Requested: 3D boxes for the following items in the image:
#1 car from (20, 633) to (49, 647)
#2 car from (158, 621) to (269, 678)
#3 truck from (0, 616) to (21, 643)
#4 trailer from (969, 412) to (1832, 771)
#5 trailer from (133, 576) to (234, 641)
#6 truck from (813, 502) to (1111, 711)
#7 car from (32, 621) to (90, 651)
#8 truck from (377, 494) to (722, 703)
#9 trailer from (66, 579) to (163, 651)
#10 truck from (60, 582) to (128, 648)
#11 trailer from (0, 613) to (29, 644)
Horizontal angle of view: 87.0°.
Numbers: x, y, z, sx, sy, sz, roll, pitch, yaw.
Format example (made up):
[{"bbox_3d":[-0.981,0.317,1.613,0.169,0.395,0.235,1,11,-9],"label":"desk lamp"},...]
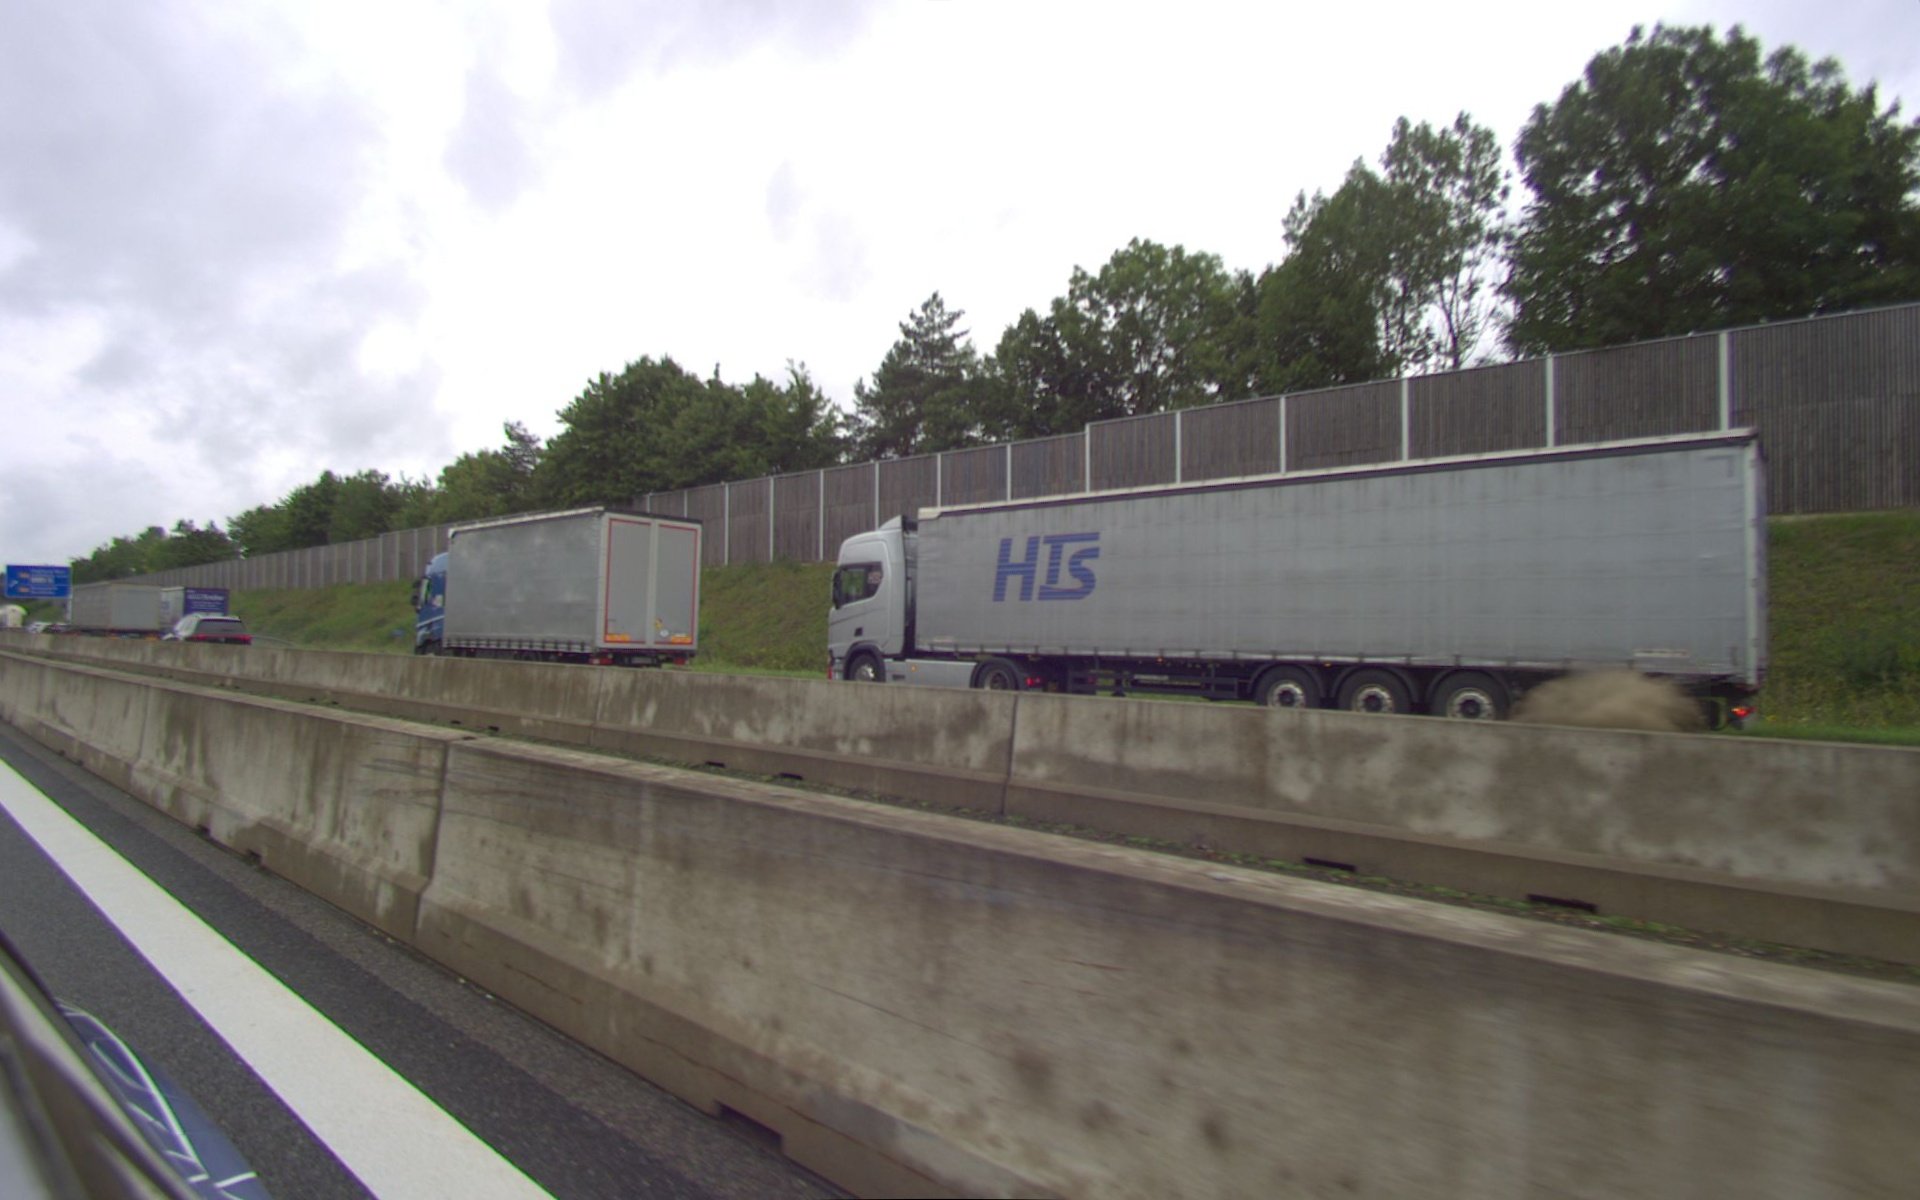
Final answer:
[{"bbox_3d":[-110.395,4.775,120.725,4.958,1.656,1.972,-1,-2,41],"label":"car"},{"bbox_3d":[-25.103,1.604,33.973,4.999,1.749,1.972,-1,-2,41],"label":"car"},{"bbox_3d":[-132.860,4.067,140.590,5.855,3.585,2.672,-1,-4,41],"label":"truck"},{"bbox_3d":[5.822,0.076,16.345,12.438,3.966,2.873,-1,-4,41],"label":"trailer"},{"bbox_3d":[-56.487,0.650,73.433,14.332,4.358,3.057,-1,-2,41],"label":"trailer"},{"bbox_3d":[-0.070,0.239,21.539,5.887,3.825,2.858,-1,-4,42],"label":"truck"},{"bbox_3d":[-51.741,2.057,58.209,4.355,1.702,1.952,-1,-2,41],"label":"car"},{"bbox_3d":[-11.291,-0.002,26.527,12.676,4.357,3.118,-1,0,42],"label":"truck"},{"bbox_3d":[-55.729,0.935,66.493,14.018,4.357,2.750,-1,0,42],"label":"trailer"},{"bbox_3d":[-60.634,1.015,70.829,6.095,4.357,2.750,-1,0,41],"label":"truck"},{"bbox_3d":[-128.583,3.835,136.852,10.640,3.953,2.683,-1,-4,41],"label":"trailer"}]
